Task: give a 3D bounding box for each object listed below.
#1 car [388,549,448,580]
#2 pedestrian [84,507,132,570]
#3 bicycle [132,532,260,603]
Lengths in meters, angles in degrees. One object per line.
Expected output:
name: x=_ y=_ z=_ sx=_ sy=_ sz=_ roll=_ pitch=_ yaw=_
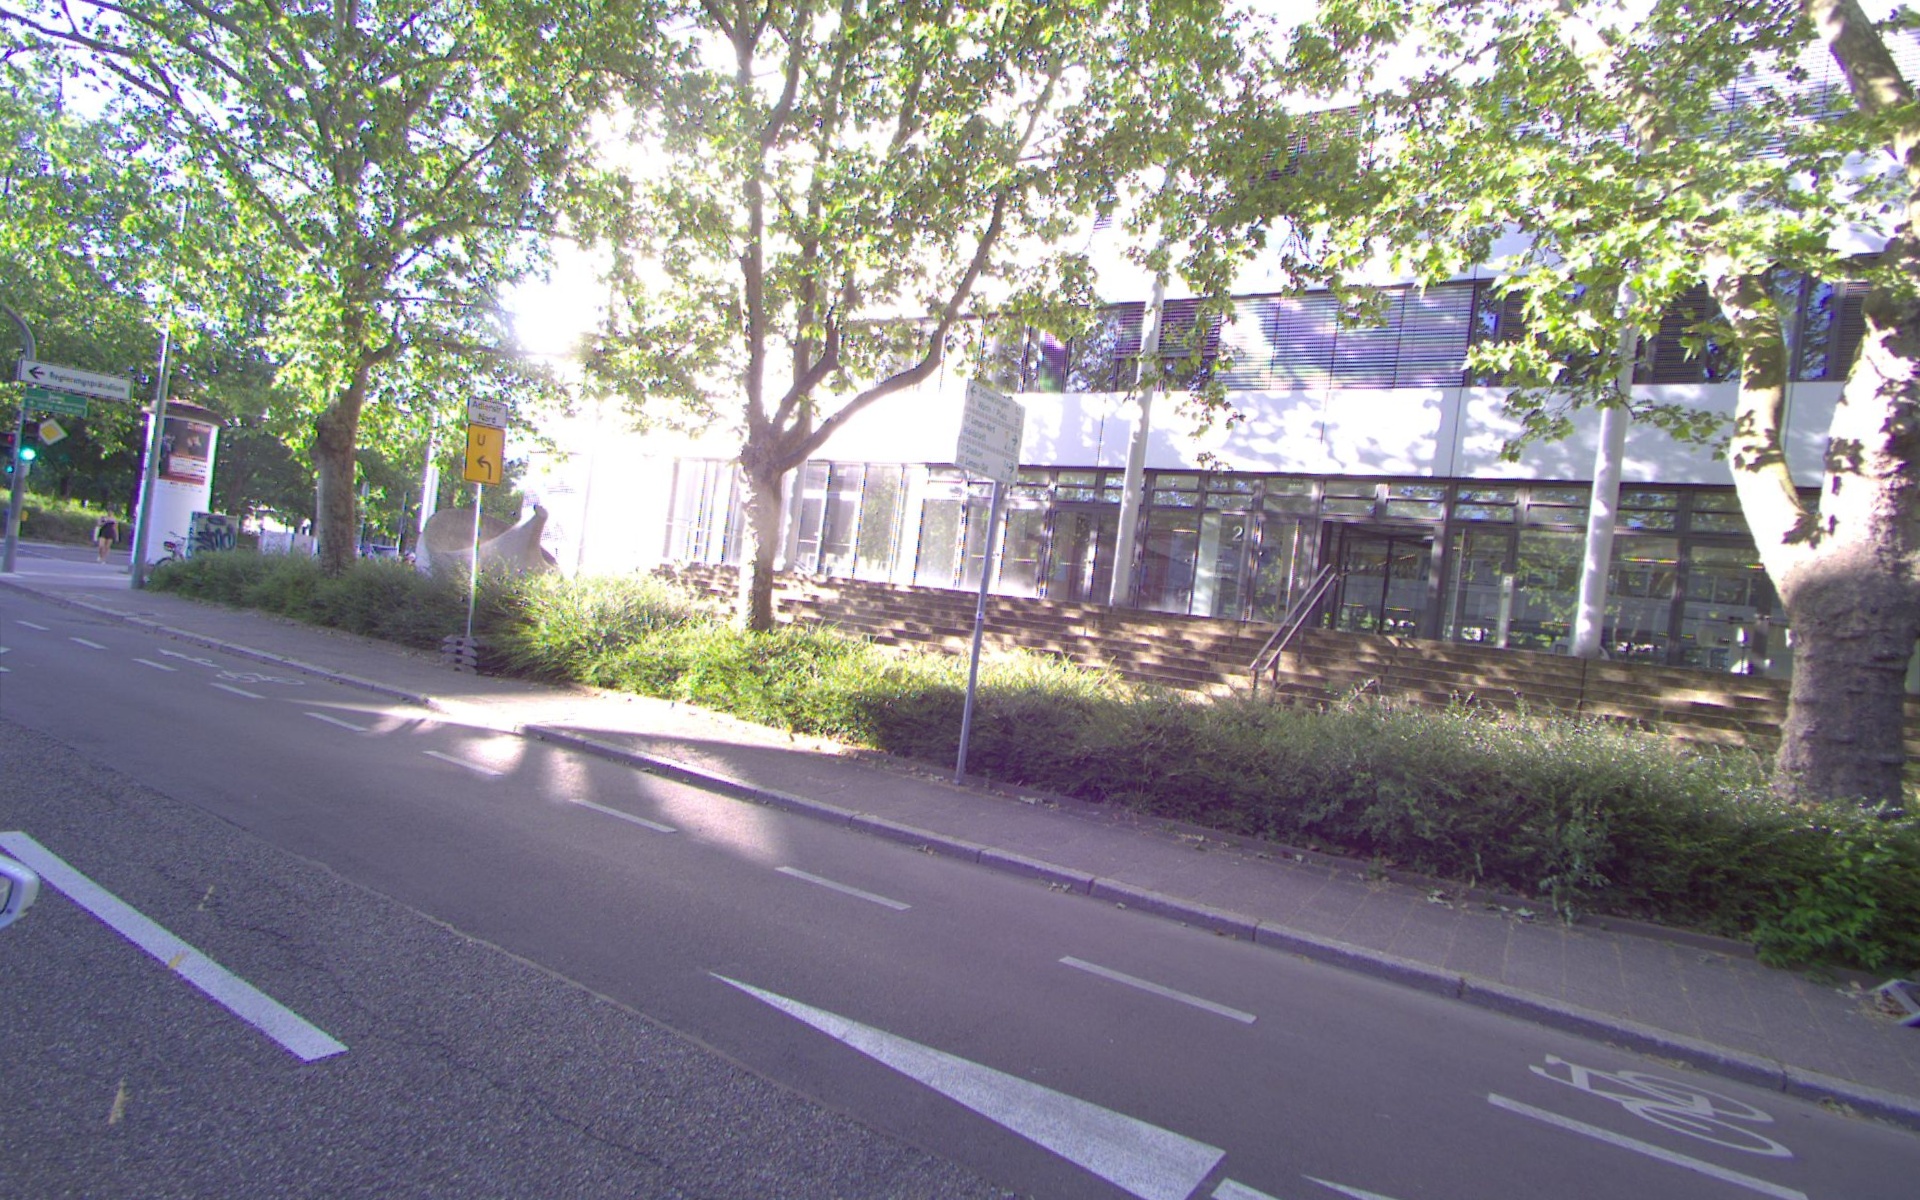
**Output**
car: x=-35.568 y=-2.331 z=65.964 sx=3.732 sy=1.500 sz=1.633 roll=6 pitch=-2 yaw=31
pedestrian: x=-24.314 y=-1.754 z=28.700 sx=0.895 sy=1.649 sz=0.797 roll=6 pitch=-1 yaw=44
bicycle: x=-15.940 y=-0.654 z=21.051 sx=0.519 sy=1.203 sz=1.980 roll=7 pitch=-2 yaw=30
